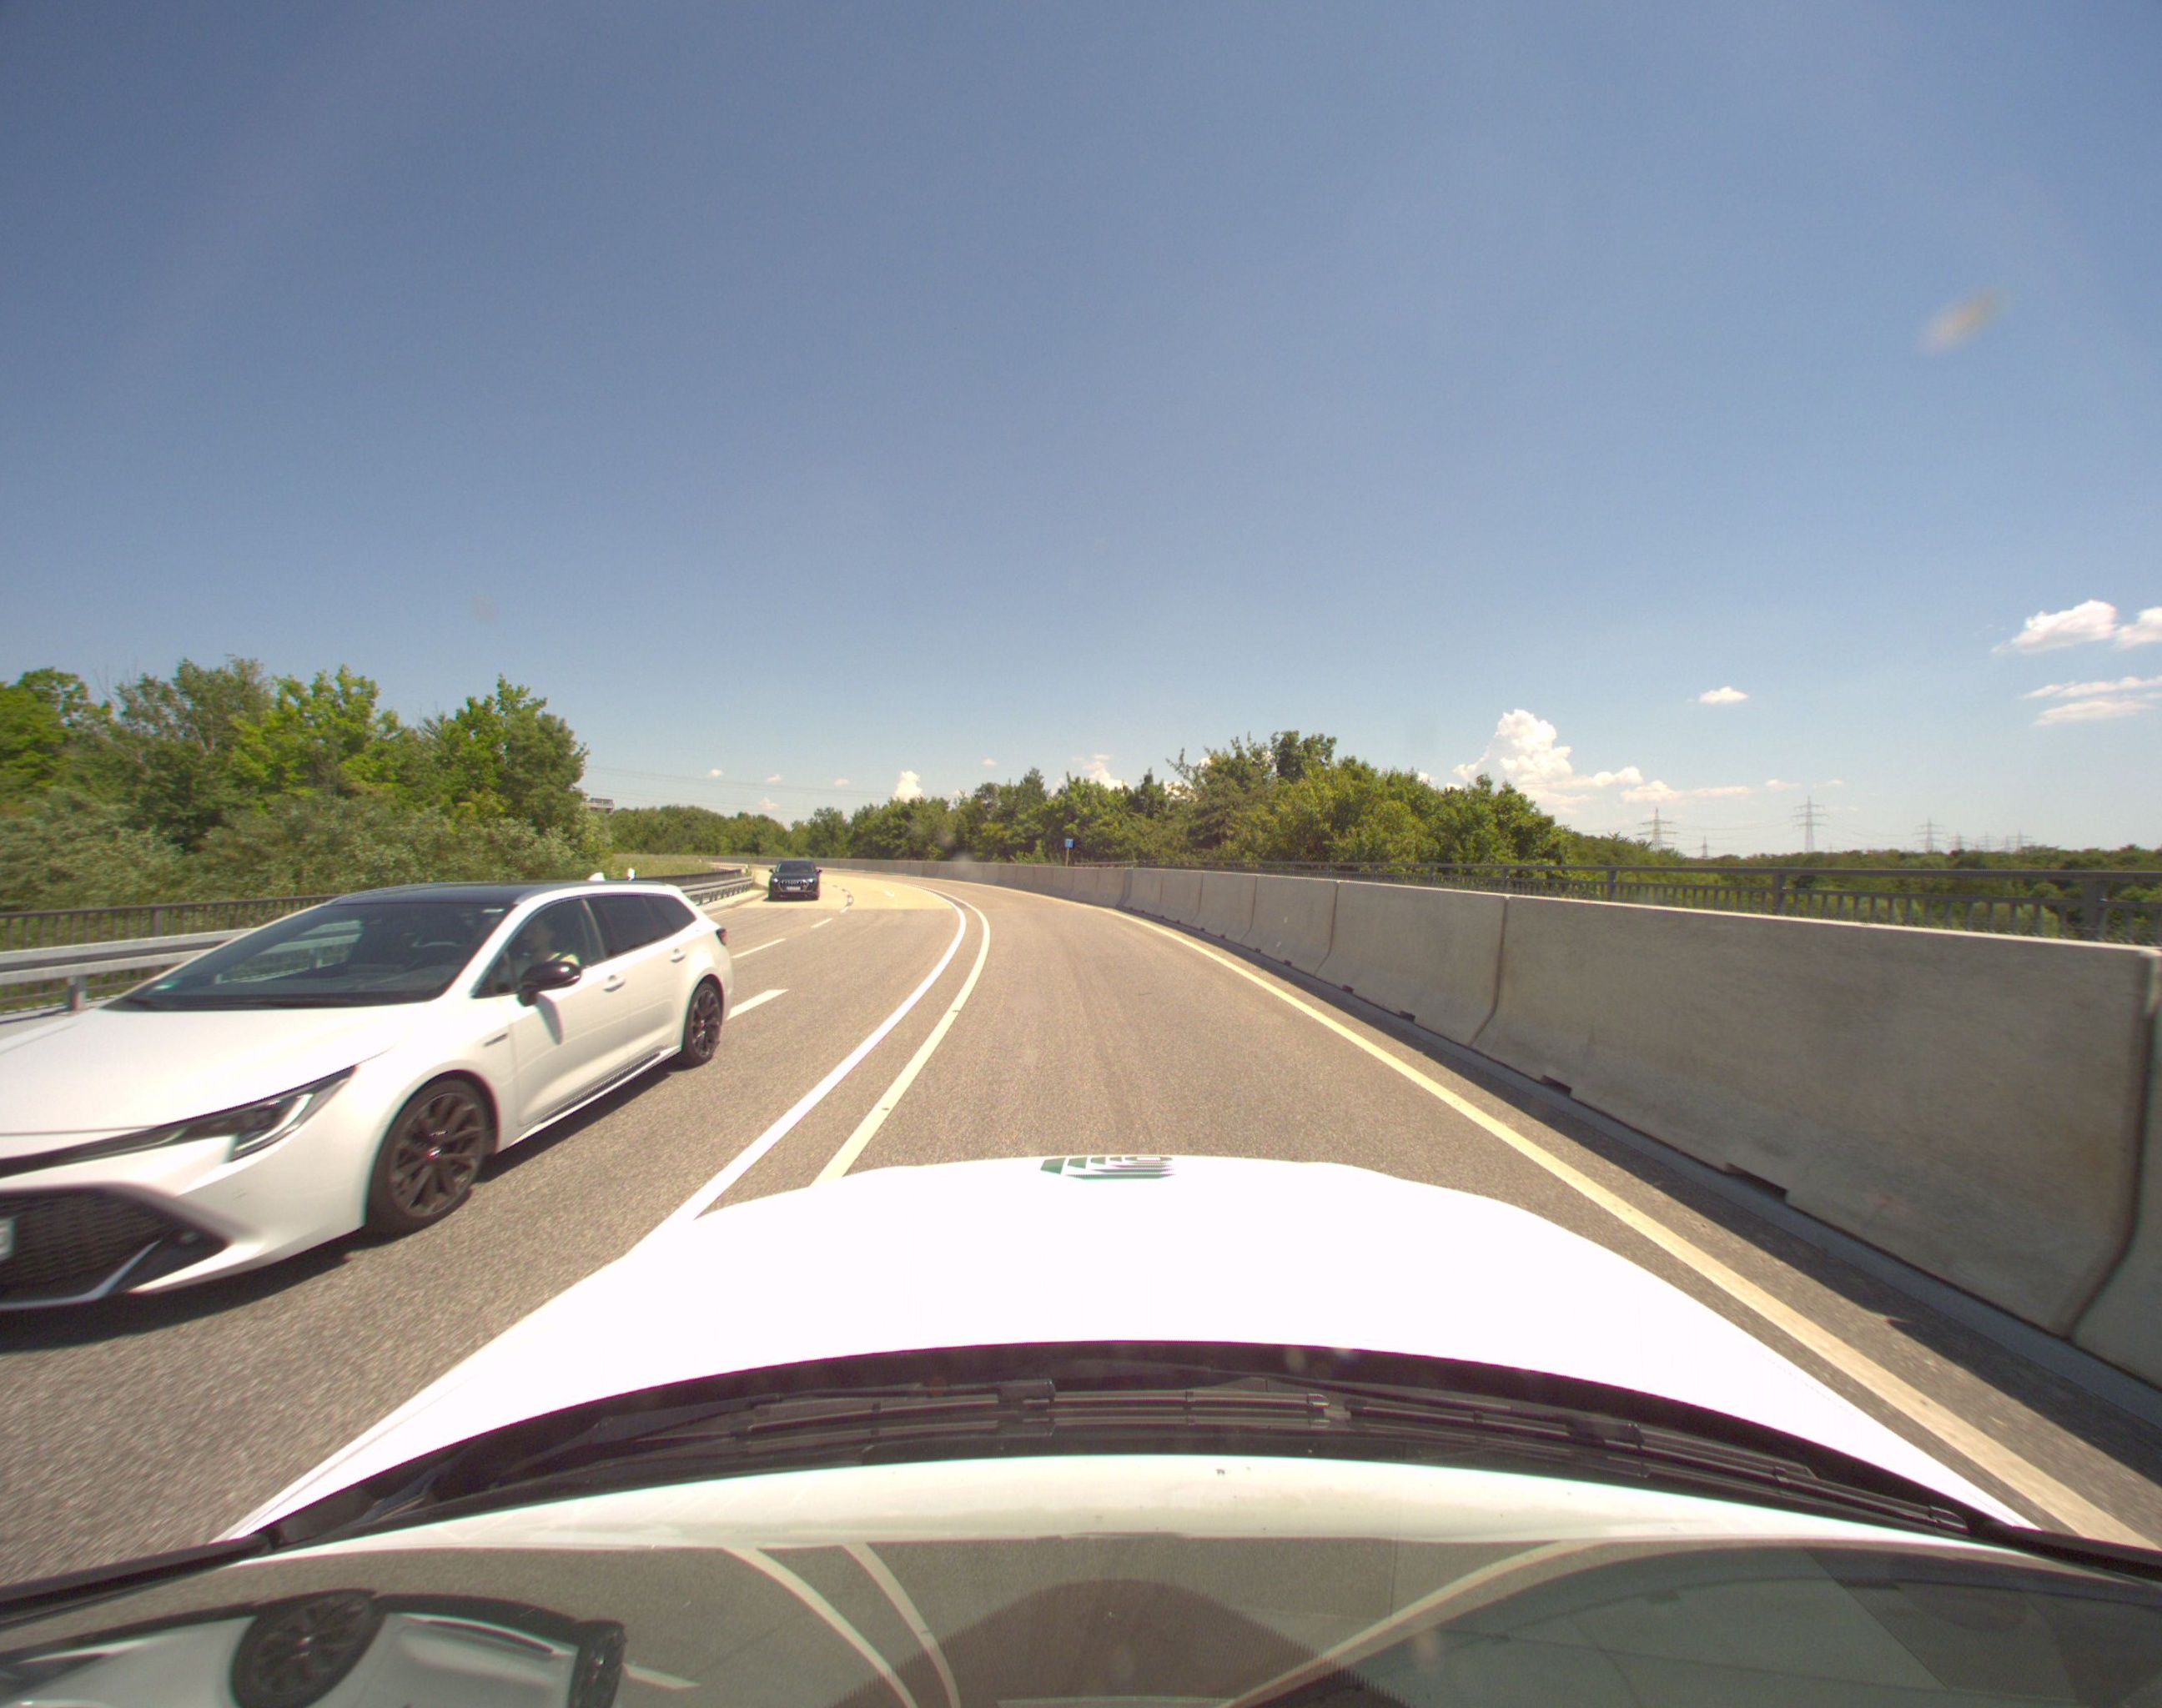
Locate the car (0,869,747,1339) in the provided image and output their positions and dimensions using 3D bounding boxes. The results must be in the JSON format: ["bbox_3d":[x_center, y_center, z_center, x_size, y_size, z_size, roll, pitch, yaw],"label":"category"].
[{"bbox_3d":[-3.641,0.846,4.785,1.738,1.459,4.361,-1,-1,-3],"label":"car"}]

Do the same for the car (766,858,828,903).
[{"bbox_3d":[-11.257,1.008,32.534,1.817,1.596,4.427,-2,0,-13],"label":"car"}]
